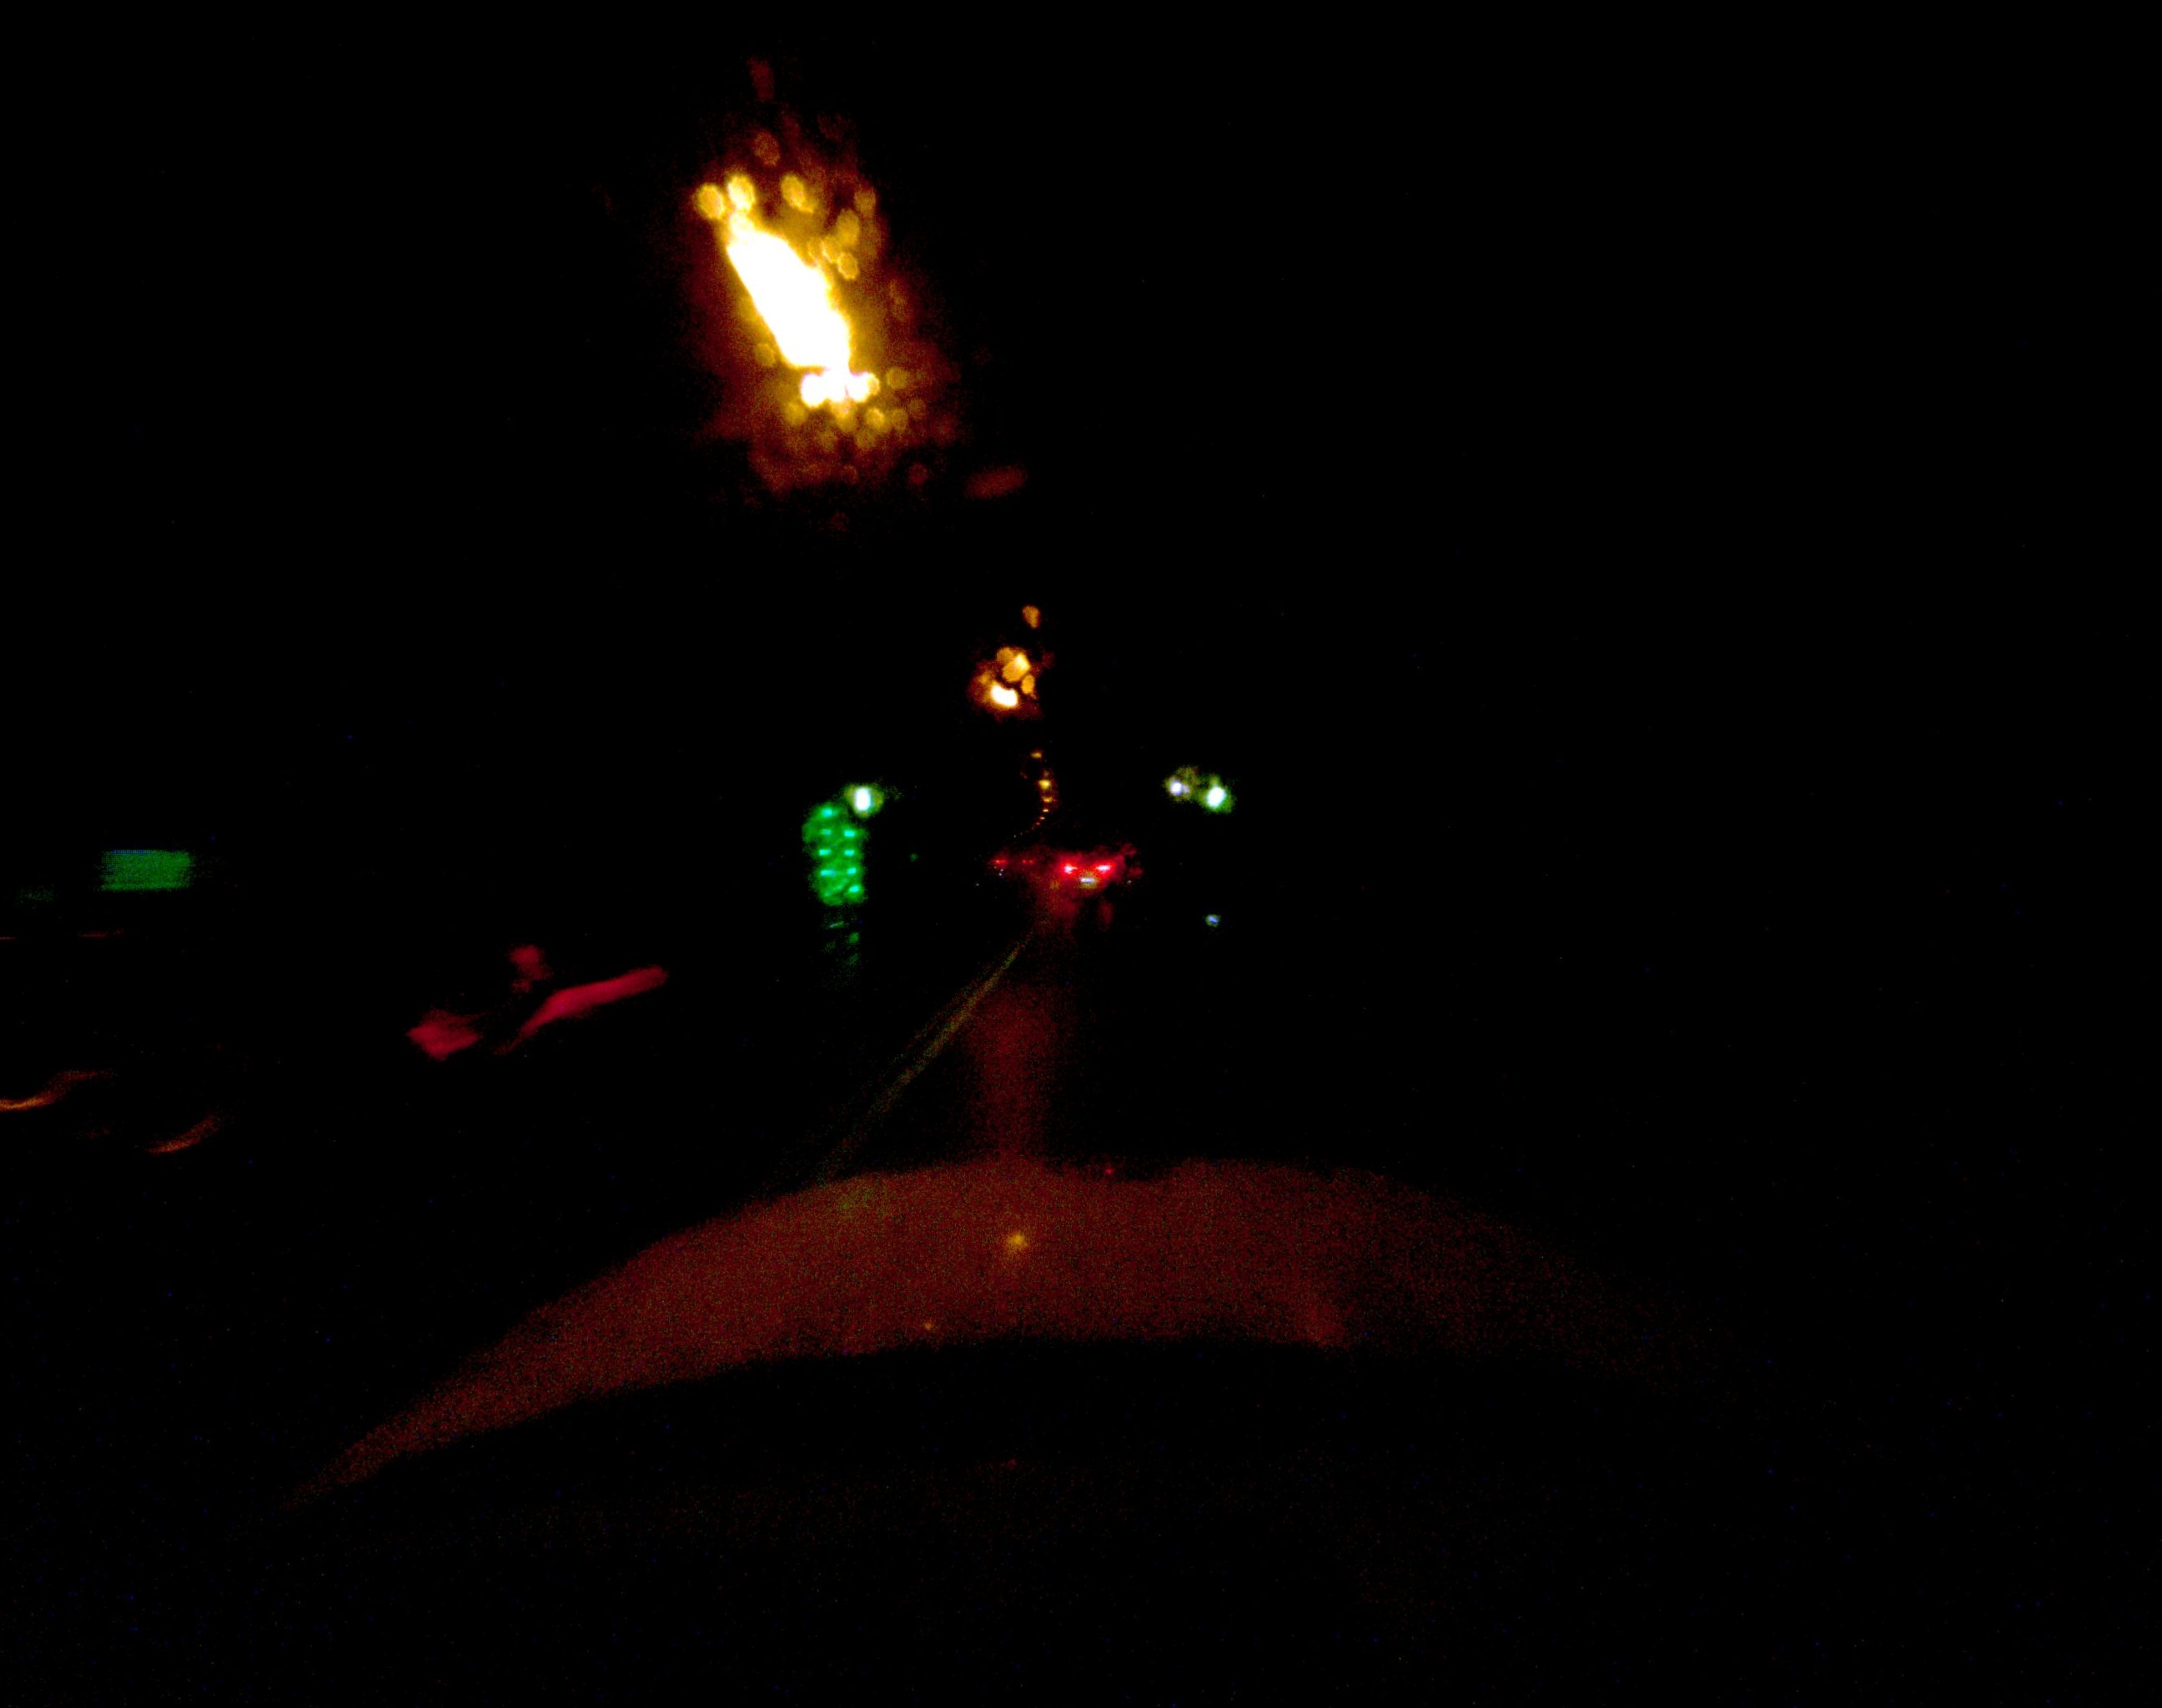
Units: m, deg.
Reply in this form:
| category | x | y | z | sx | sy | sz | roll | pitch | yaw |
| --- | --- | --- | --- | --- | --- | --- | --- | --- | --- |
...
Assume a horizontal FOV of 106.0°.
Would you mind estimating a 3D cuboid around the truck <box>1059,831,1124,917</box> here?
| category | x | y | z | sx | sy | sz | roll | pitch | yaw |
| --- | --- | --- | --- | --- | --- | --- | --- | --- | --- |
| truck | 0.439 | 0.716 | 32.851 | 2.254 | 3.011 | 7.416 | 2 | 0 | 1 |

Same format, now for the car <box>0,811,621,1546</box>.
| category | x | y | z | sx | sy | sz | roll | pitch | yaw |
| --- | --- | --- | --- | --- | --- | --- | --- | --- | --- |
| car | -3.231 | 0.734 | 2.300 | 1.625 | 1.650 | 3.776 | 0 | 0 | 1 |
